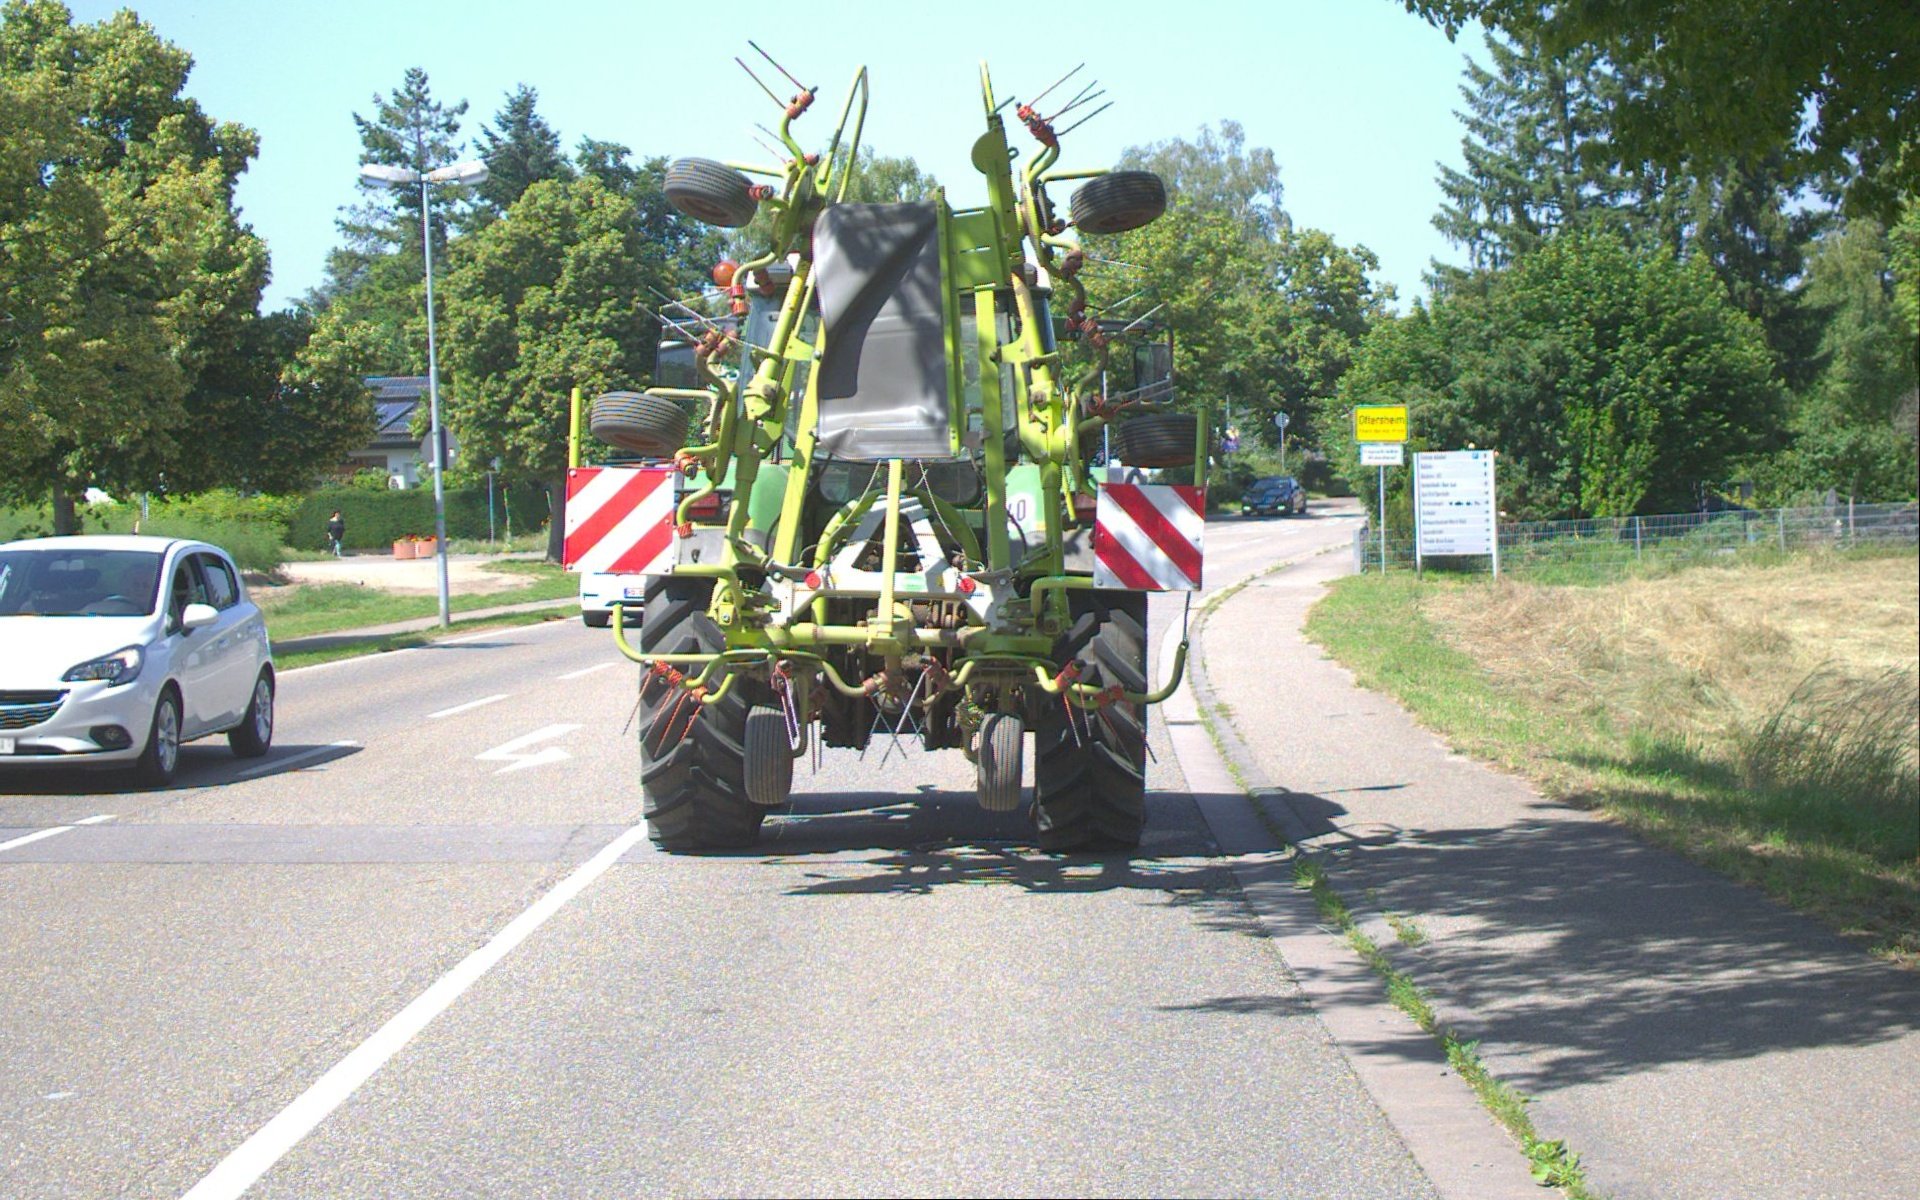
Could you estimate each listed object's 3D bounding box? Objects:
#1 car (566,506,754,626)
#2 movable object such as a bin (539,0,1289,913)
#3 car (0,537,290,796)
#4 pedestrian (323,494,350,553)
[{"bbox_3d":[-4.134,-0.515,48.040,1.876,1.567,4.471,0,2,5],"label":"car"},{"bbox_3d":[-0.306,-0.700,18.027,2.852,3.529,9.702,0,2,-2],"label":"movable object such as a bin"},{"bbox_3d":[-5.419,0.339,21.288,1.649,1.429,3.897,0,1,2],"label":"car"},{"bbox_3d":[-18.259,-2.234,100.668,0.549,1.711,0.676,1,1,12],"label":"pedestrian"}]
